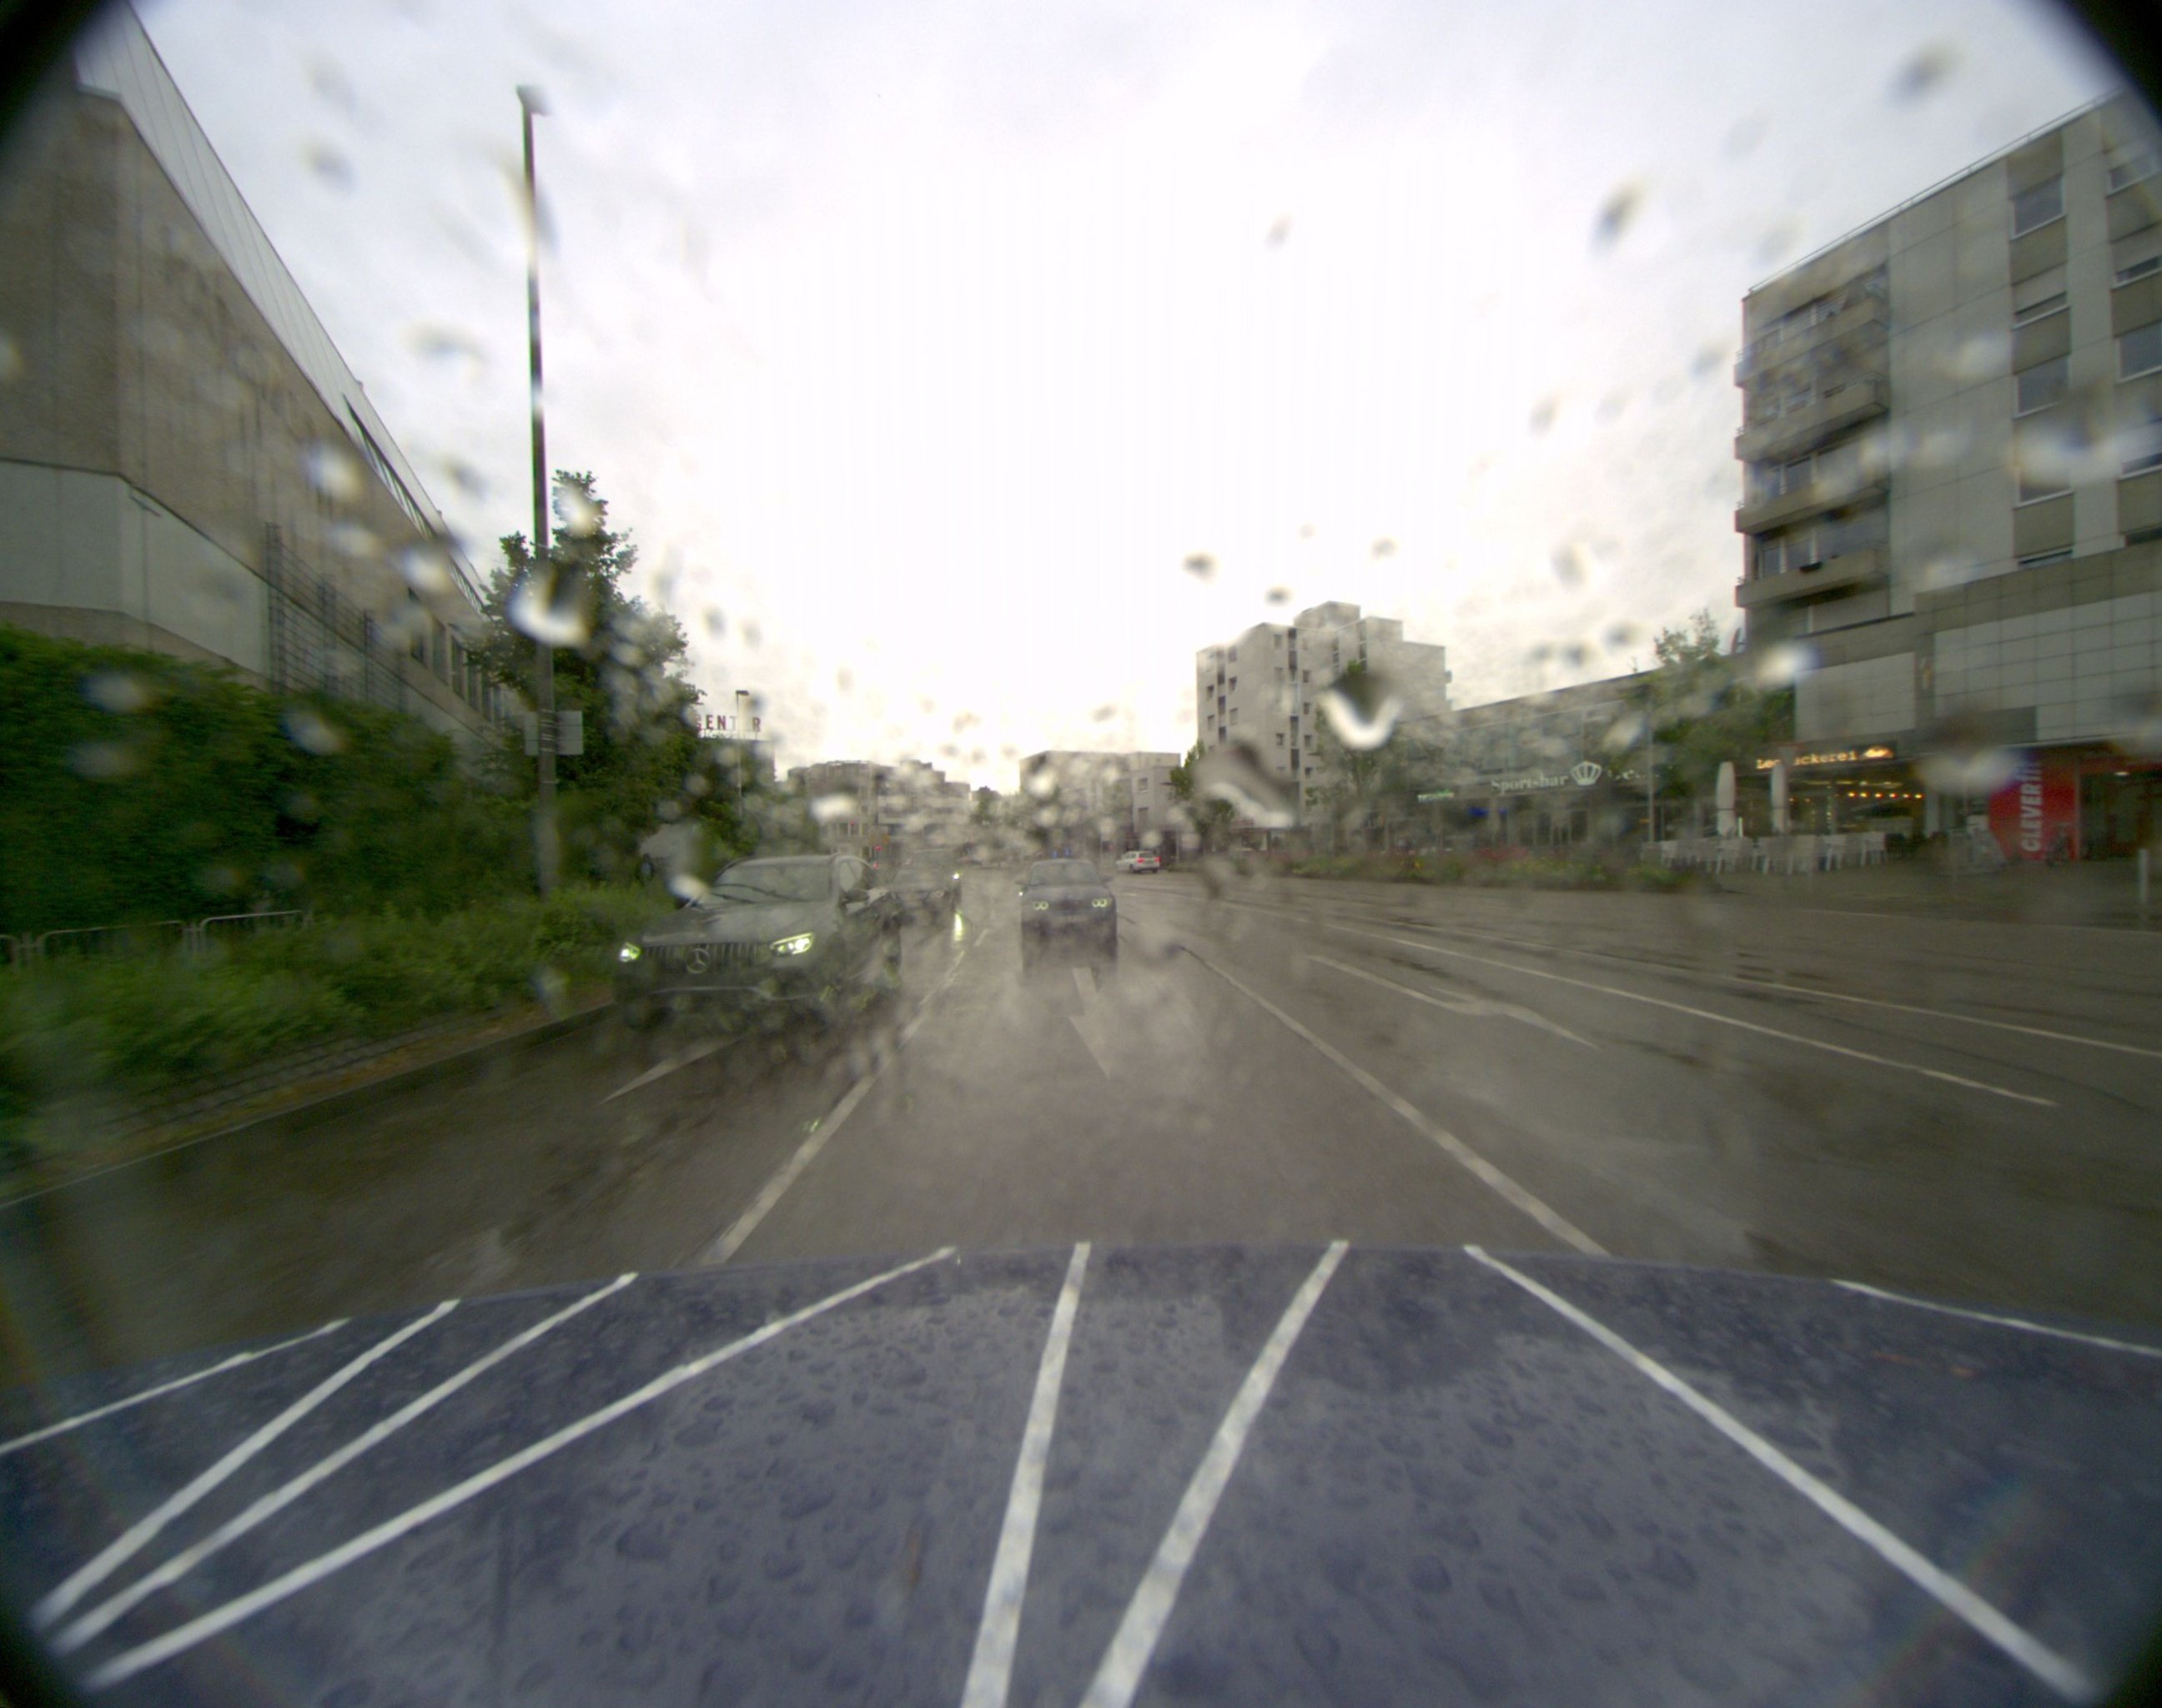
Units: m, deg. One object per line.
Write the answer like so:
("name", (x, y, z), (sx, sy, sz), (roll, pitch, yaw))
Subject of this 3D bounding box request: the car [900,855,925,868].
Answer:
("car", (-20.251, 0.910, 91.017), (1.850, 1.452, 4.799), (-3, 1, -26))

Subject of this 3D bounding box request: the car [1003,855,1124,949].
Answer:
("car", (-0.198, 0.819, 14.794), (1.675, 1.534, 3.915), (-2, 0, 8))

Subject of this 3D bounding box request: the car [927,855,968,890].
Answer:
("car", (-6.664, 0.880, 38.319), (1.763, 1.540, 4.324), (-3, 0, -7))

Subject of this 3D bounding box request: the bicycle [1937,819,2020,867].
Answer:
("bicycle", (24.828, -0.304, 21.011), (2.556, 1.216, 0.695), (-2, 1, -21))

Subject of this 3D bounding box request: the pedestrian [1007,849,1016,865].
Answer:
("pedestrian", (-8.859, 0.387, 96.611), (0.906, 1.904, 0.976), (-2, 1, -17))

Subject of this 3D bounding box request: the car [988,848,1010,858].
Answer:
("car", (-15.256, -0.119, 141.423), (3.903, 1.710, 1.742), (-2, 1, -43))

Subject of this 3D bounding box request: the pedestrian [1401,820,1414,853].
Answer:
("pedestrian", (18.432, -0.992, 42.935), (0.427, 1.837, 0.500), (-2, 1, -14))

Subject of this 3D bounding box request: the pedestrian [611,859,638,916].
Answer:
("pedestrian", (-14.927, 1.083, 24.860), (0.675, 1.787, 0.672), (-2, 2, -29))

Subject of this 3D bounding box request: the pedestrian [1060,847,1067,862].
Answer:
("pedestrian", (-2.099, 0.069, 89.430), (0.550, 1.740, 0.679), (-2, 1, -23))

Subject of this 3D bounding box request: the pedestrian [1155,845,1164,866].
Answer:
("pedestrian", (6.523, 0.121, 62.834), (0.537, 1.649, 0.479), (-2, 1, -19))

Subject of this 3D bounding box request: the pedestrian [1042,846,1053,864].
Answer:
("pedestrian", (-3.955, 0.134, 88.893), (0.907, 2.002, 0.975), (-2, 1, -26))

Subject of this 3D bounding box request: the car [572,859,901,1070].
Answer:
("car", (-3.354, 0.920, 8.473), (1.907, 1.611, 4.333), (-2, 1, -5))

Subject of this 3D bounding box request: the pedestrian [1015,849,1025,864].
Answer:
("pedestrian", (-7.729, 0.322, 96.296), (0.907, 1.904, 0.975), (-2, 1, -26))

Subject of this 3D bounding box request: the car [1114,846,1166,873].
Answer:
("car", (3.858, 0.345, 50.710), (1.893, 1.673, 4.499), (-3, 1, -17))

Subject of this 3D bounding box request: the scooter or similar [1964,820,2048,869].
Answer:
("scooter or similar", (23.935, -0.248, 19.656), (2.596, 1.167, 0.642), (-2, 1, -22))

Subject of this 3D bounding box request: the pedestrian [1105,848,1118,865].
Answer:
("pedestrian", (3.074, 0.202, 75.536), (1.011, 1.636, 0.725), (-3, 1, -25))

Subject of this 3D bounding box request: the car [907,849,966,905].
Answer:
("car", (-5.597, 0.813, 29.657), (2.002, 1.883, 4.582), (-3, 1, -10))

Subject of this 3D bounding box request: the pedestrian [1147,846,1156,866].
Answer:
("pedestrian", (5.863, 0.136, 63.069), (0.480, 1.649, 0.535), (-2, 1, -24))

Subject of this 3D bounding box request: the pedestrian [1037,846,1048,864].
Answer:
("pedestrian", (-4.532, 0.112, 88.623), (0.907, 2.002, 0.975), (-2, 1, -26))

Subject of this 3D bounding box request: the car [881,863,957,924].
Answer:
("car", (-4.364, 0.996, 20.995), (1.637, 1.378, 4.511), (-2, 1, -8))

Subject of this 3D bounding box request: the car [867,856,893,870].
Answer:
("car", (-22.859, 1.073, 86.412), (1.766, 1.443, 3.991), (-2, 0, -31))

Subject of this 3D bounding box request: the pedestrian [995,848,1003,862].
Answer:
("pedestrian", (-11.881, 0.103, 110.167), (0.762, 2.002, 0.862), (-2, 1, -26))
